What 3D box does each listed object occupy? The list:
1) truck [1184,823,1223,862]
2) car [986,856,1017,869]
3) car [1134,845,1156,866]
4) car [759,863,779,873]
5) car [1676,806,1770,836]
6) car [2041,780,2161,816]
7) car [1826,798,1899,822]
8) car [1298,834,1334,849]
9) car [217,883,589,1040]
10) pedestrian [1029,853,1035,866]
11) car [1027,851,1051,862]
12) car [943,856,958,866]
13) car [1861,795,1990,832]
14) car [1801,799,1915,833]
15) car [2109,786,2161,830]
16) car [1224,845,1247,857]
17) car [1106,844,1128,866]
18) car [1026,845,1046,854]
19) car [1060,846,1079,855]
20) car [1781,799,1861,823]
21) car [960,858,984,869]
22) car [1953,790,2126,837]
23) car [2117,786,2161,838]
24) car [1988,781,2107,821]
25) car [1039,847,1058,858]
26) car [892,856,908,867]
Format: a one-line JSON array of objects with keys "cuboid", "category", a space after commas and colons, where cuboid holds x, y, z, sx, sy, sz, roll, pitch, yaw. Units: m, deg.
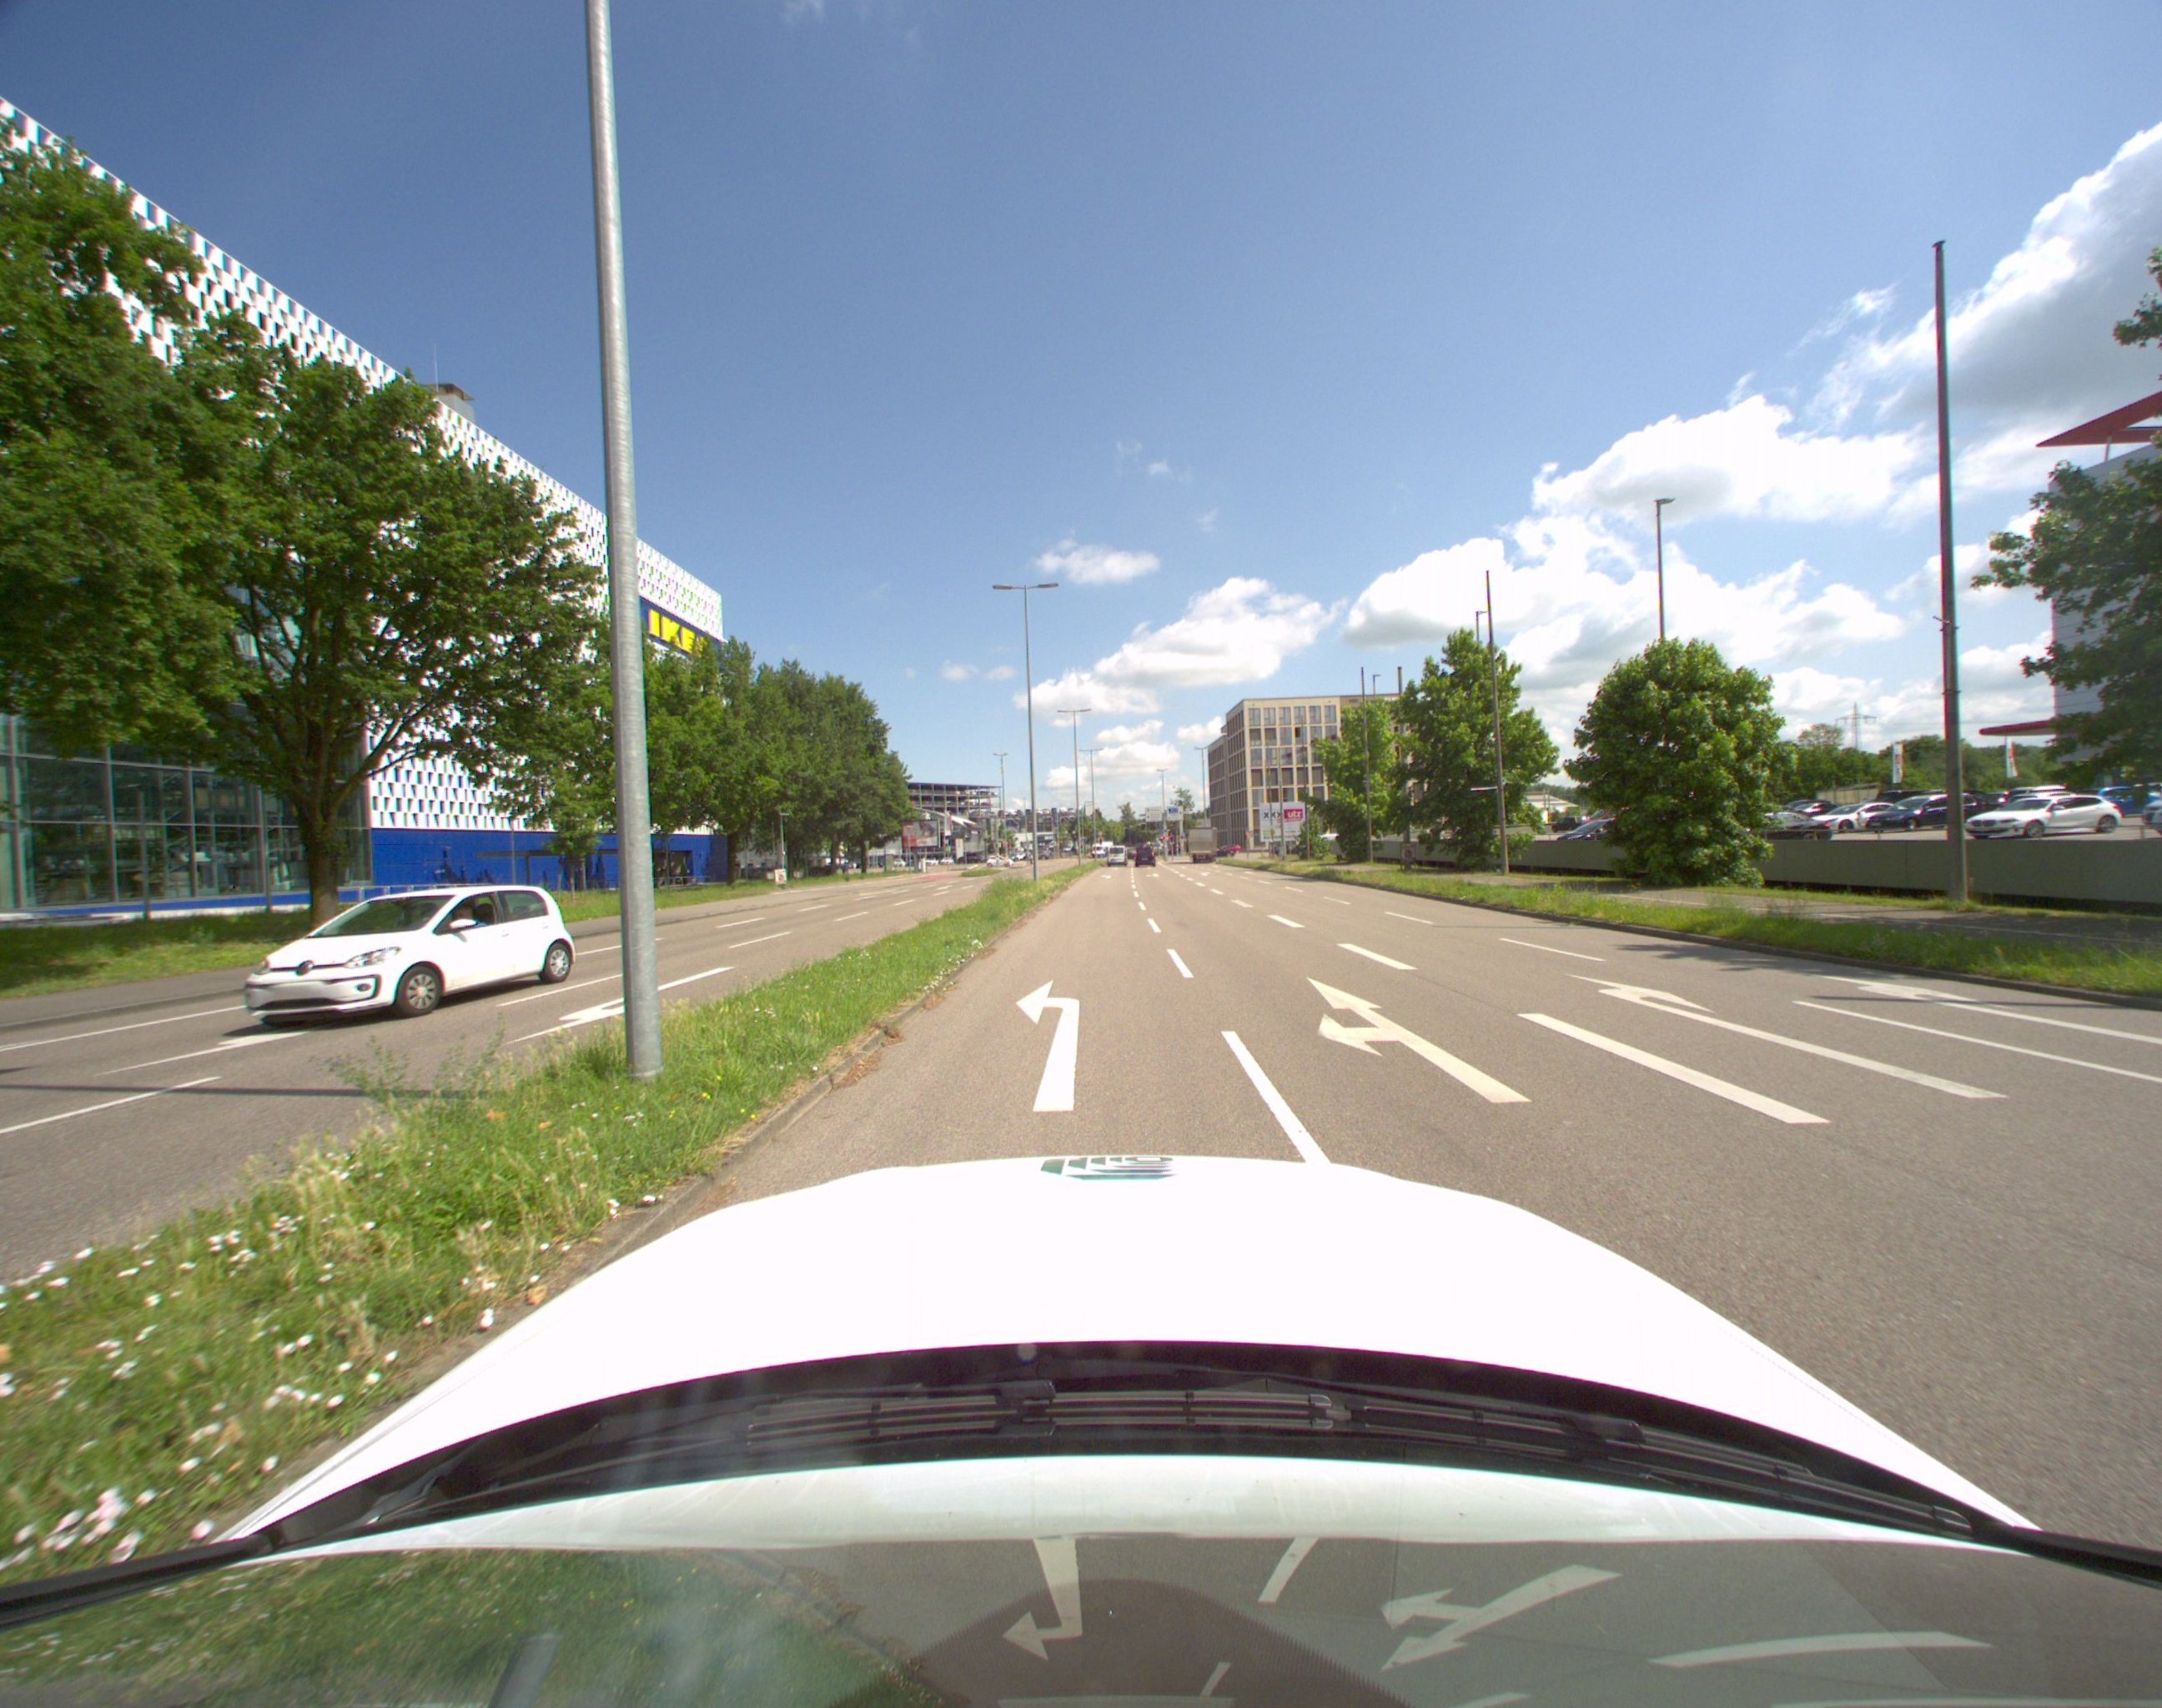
[{"cuboid": [13.435, -1.266, 88.622, 3.107, 3.940, 8.894, -2, 1, 15], "category": "truck"}, {"cuboid": [-10.550, 1.132, 108.094, 3.840, 1.466, 1.695, -2, 1, -2], "category": "car"}, {"cuboid": [5.894, 0.143, 74.715, 1.810, 1.808, 4.008, -1, 0, 6], "category": "car"}, {"cuboid": [-51.634, 2.233, 134.789, 1.722, 1.486, 3.701, -2, 1, 0], "category": "car"}, {"cuboid": [36.441, -1.861, 46.319, 3.975, 1.514, 1.747, -2, 0, -1], "category": "car"}, {"cuboid": [48.847, -2.641, 38.961, 3.781, 1.516, 1.744, -2, 1, 1], "category": "car"}, {"cuboid": [54.305, -3.034, 56.611, 3.512, 1.464, 1.586, -2, 1, 1], "category": "car"}, {"cuboid": [37.546, -1.963, 130.291, 5.459, 2.255, 2.007, -2, 1, 12], "category": "car"}, {"cuboid": [-8.319, 1.208, 10.498, 1.638, 1.429, 3.669, -4, 0, 0], "category": "car"}, {"cuboid": [-6.021, 0.685, 100.324, 0.464, 1.512, 0.515, -2, 0, 28], "category": "pedestrian"}, {"cuboid": [-7.125, 0.465, 138.703, 3.849, 1.639, 1.858, -4, 1, -1], "category": "car"}, {"cuboid": [-21.301, 1.060, 132.688, 1.770, 1.450, 4.029, -2, 1, 0], "category": "car"}, {"cuboid": [40.345, -1.902, 38.966, 4.169, 1.434, 1.893, -4, 1, 0], "category": "car"}, {"cuboid": [39.646, -1.941, 41.617, 4.169, 1.434, 1.726, -4, 1, 0], "category": "car"}, {"cuboid": [40.706, -1.727, 29.717, 3.975, 1.571, 1.999, -2, 1, -1], "category": "car"}, {"cuboid": [23.267, -0.436, 122.705, 3.261, 1.405, 1.335, -2, 9, 1], "category": "car"}, {"cuboid": [3.572, 0.091, 79.754, 1.847, 2.018, 4.007, -1, 1, 5], "category": "car"}, {"cuboid": [-9.363, -0.979, 169.692, 4.155, 1.712, 1.687, -1, 1, -3], "category": "car"}, {"cuboid": [-2.380, -0.713, 170.325, 3.978, 1.925, 1.825, -2, 0, -3], "category": "car"}, {"cuboid": [54.648, -3.191, 60.192, 3.971, 1.543, 2.001, -2, 0, 2], "category": "car"}, {"cuboid": [-17.837, 1.544, 133.252, 3.782, 1.513, 1.678, -2, 1, -2], "category": "car"}, {"cuboid": [34.918, -1.447, 29.747, 4.172, 1.389, 1.892, -4, 1, -2], "category": "car"}, {"cuboid": [35.085, -1.373, 25.046, 3.975, 1.571, 1.999, -2, 0, -1], "category": "car"}, {"cuboid": [49.362, -2.663, 41.636, 3.869, 1.837, 1.776, -2, 1, 2], "category": "car"}, {"cuboid": [-5.977, -0.264, 149.879, 3.497, 1.712, 1.603, -4, 1, -1], "category": "car"}, {"cuboid": [-29.337, 1.213, 131.887, 1.751, 1.660, 3.616, -2, 1, -1], "category": "car"}]
